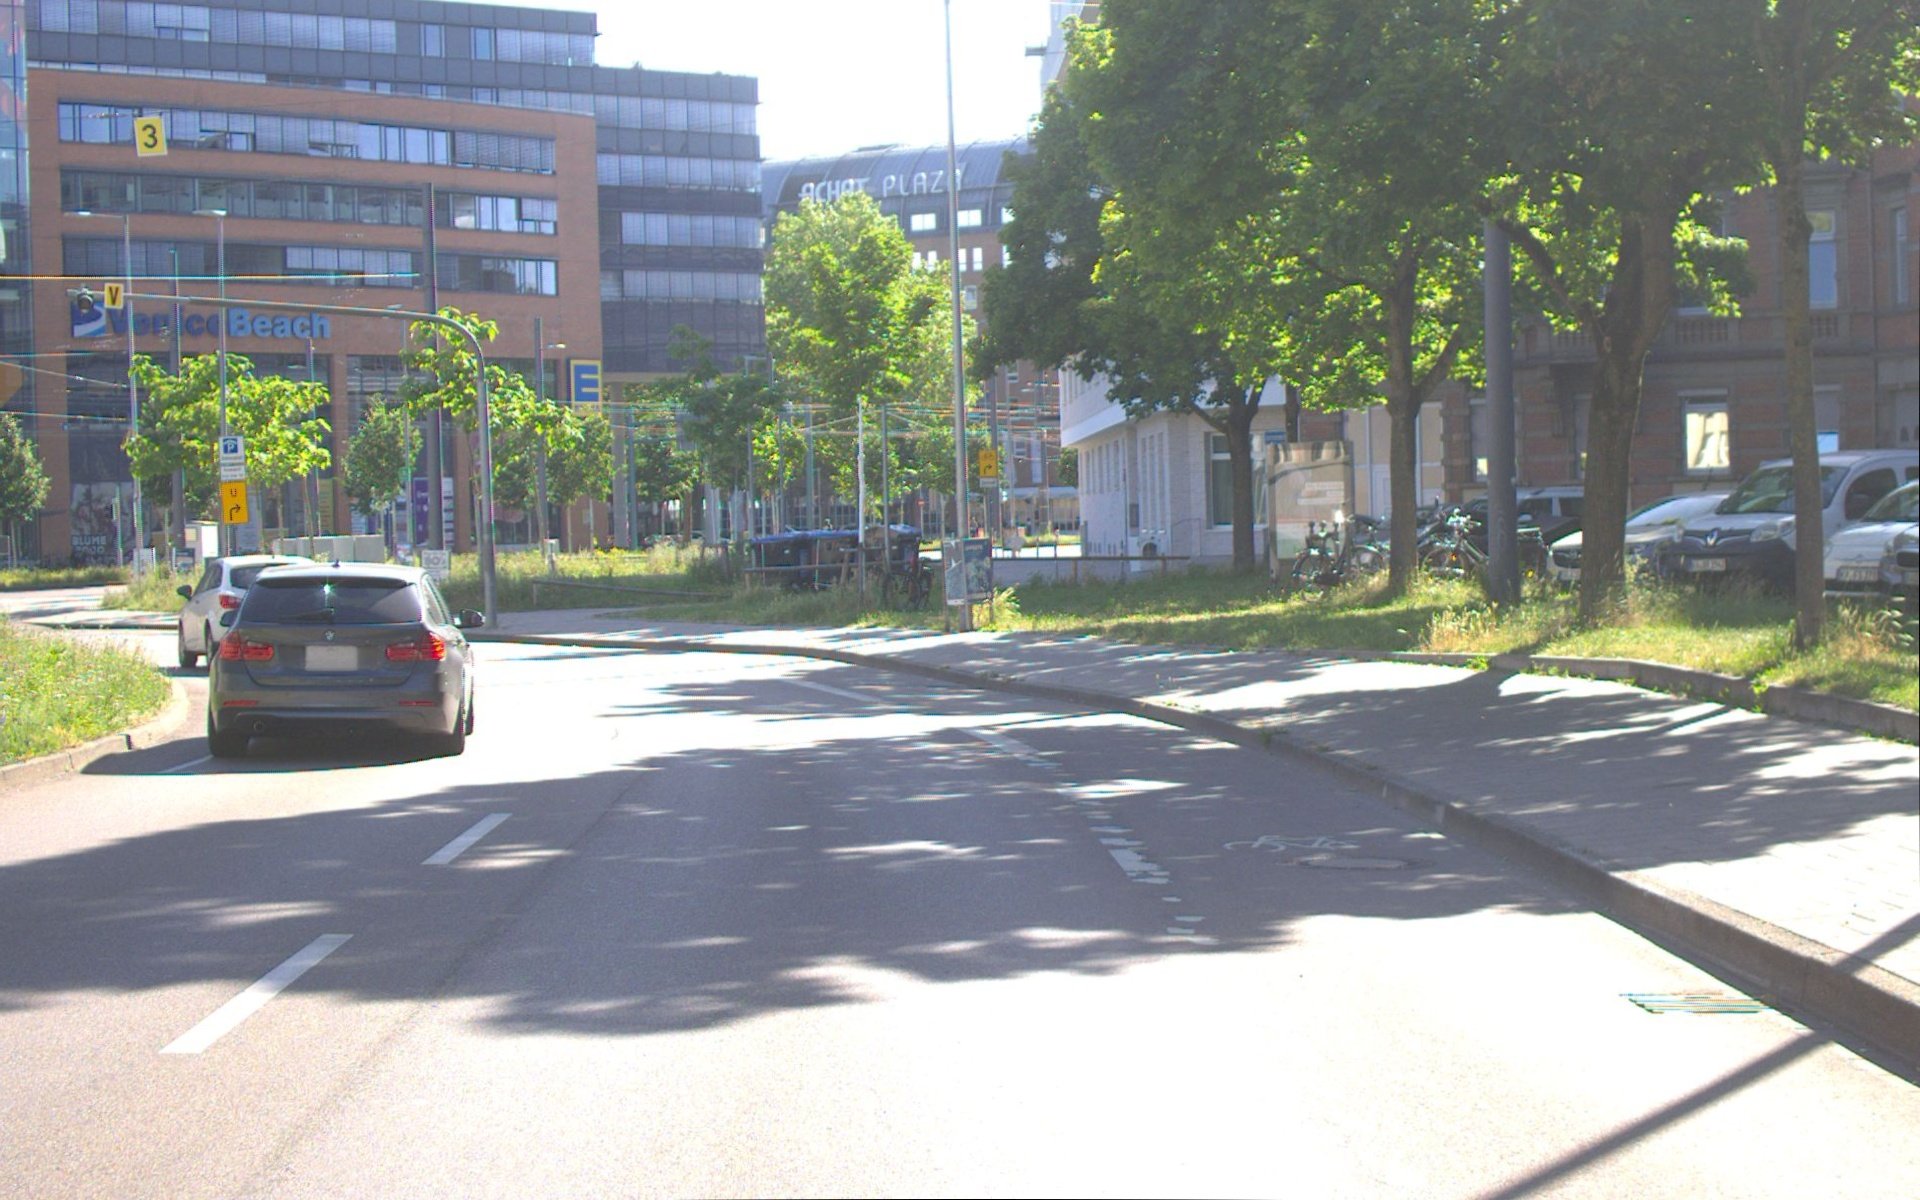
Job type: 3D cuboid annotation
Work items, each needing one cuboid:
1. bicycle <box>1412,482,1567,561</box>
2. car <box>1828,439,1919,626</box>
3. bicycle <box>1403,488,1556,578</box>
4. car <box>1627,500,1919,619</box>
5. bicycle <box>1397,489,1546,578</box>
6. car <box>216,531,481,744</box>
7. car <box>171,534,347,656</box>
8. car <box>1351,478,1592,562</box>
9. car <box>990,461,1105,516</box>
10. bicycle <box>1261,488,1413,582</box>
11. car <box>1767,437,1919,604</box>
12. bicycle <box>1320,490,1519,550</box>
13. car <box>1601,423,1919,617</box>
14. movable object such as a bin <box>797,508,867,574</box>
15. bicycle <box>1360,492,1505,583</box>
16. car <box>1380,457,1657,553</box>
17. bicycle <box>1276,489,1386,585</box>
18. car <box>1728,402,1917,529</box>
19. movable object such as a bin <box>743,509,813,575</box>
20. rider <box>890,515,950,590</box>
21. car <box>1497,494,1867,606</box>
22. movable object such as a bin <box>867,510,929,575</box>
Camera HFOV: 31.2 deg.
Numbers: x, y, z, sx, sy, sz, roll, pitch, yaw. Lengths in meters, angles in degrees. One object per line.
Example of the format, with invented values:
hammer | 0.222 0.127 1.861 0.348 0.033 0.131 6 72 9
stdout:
bicycle | 7.950 -1.180 51.635 2.162 1.154 0.822 -1 1 -5
car | 10.707 -0.734 32.894 4.498 1.721 2.000 -3 1 -31
bicycle | 7.272 -0.934 48.185 1.944 1.176 0.900 -2 1 -2
car | 10.139 -0.519 42.022 3.603 1.375 1.925 -1 1 -35
bicycle | 7.297 -0.947 49.107 1.957 1.188 0.841 -2 1 -2
car | -4.521 0.284 25.929 1.733 1.418 4.468 2 -1 -8
car | -8.798 -0.050 42.960 1.631 1.418 3.783 2 -1 -19
car | 9.061 -1.424 60.952 3.830 1.436 1.760 -1 1 -20
car | 3.329 -4.213 130.301 3.989 2.007 1.999 0 1 14
bicycle | 5.560 -0.960 50.742 2.093 1.360 0.787 -1 1 -7
car | 11.078 -0.910 36.212 4.865 1.642 2.101 -3 1 -31
bicycle | 8.993 -1.567 67.825 2.674 1.123 5.223 -1 1 -7
car | 9.810 -0.946 39.027 4.865 2.006 2.100 -3 1 -35
movable object such as a bin | -2.752 -1.269 74.142 1.108 1.393 1.320 0 1 19
bicycle | 7.395 -0.973 53.828 2.092 1.393 0.787 -1 1 -12
car | 9.433 -1.606 57.954 4.456 1.560 1.938 -1 1 -33
bicycle | 5.222 -0.894 48.365 0.769 1.285 1.594 -1 2 38
car | 17.216 -2.675 68.882 2.349 2.349 5.188 -2 2 -1
movable object such as a bin | -3.917 -1.252 74.093 1.069 1.393 1.303 0 1 19
rider | -0.636 -0.775 55.373 0.502 1.172 1.675 0 2 16
car | 9.475 -0.677 44.970 4.738 1.375 2.046 -1 1 -35
movable object such as a bin | -1.339 -1.246 74.359 1.029 1.393 1.089 0 1 19
